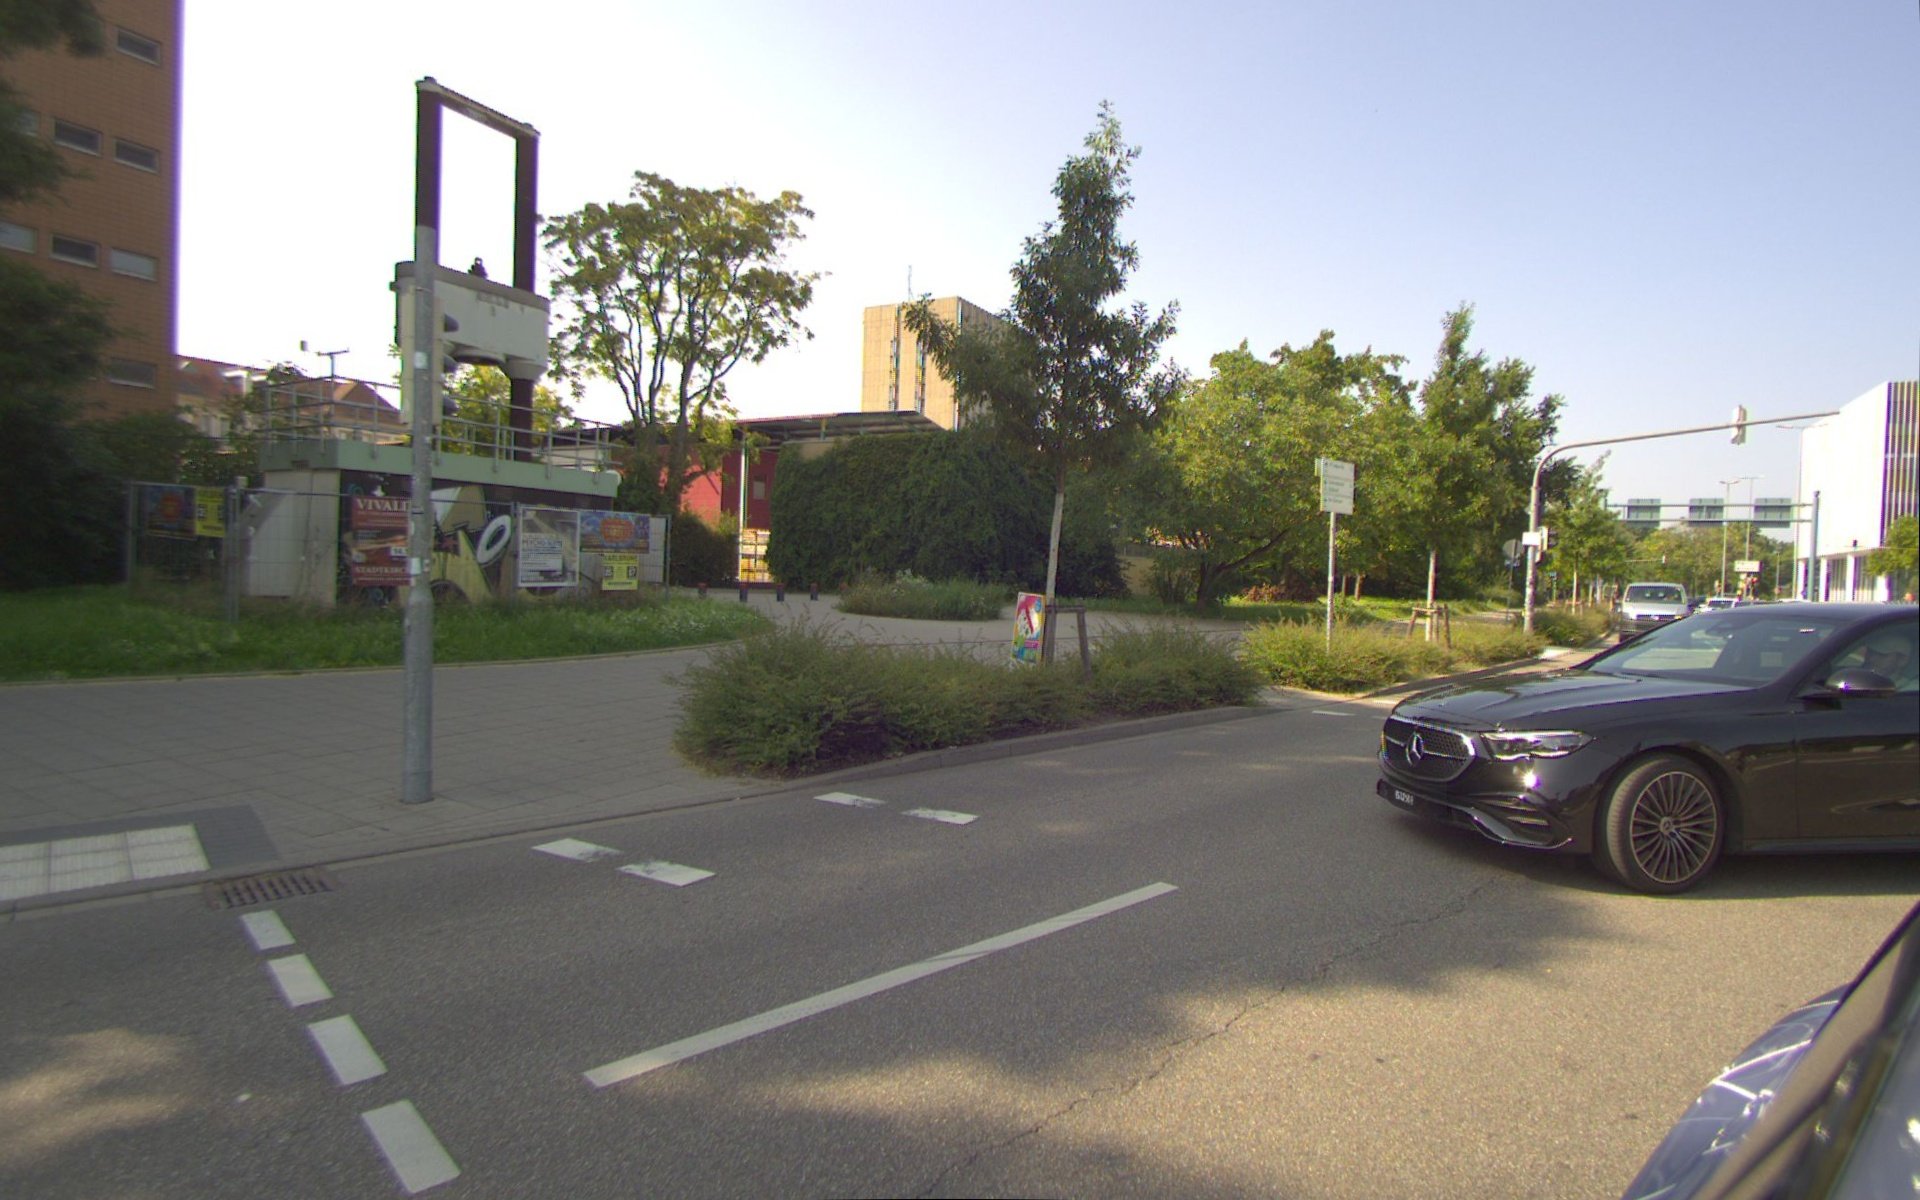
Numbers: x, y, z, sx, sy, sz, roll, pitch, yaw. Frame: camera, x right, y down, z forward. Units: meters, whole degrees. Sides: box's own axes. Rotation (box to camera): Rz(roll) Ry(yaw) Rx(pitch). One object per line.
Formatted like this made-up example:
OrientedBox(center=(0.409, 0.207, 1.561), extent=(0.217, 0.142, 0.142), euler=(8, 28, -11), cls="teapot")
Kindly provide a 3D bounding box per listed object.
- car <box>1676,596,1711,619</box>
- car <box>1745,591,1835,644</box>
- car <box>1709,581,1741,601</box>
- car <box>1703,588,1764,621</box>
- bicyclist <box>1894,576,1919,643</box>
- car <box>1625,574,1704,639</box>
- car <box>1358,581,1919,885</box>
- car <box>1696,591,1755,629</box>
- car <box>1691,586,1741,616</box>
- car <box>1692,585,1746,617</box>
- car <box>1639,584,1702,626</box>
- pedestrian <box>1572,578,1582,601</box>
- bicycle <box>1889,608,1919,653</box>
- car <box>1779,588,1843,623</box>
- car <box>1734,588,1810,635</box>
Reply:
OrientedBox(center=(59.684, 0.566, 82.393), extent=(1.918, 1.680, 4.248), euler=(3, 2, 31), cls="car")
OrientedBox(center=(25.161, 0.463, 30.818), extent=(1.901, 1.418, 4.854), euler=(3, 2, 37), cls="car")
OrientedBox(center=(85.753, -1.022, 113.455), extent=(1.900, 2.039, 3.965), euler=(3, 0, 25), cls="car")
OrientedBox(center=(39.213, 0.179, 51.377), extent=(1.918, 1.524, 4.248), euler=(3, 2, 31), cls="car")
OrientedBox(center=(24.270, 0.248, 25.620), extent=(0.744, 1.655, 0.864), euler=(3, 2, 35), cls="bicyclist")
OrientedBox(center=(22.984, 0.174, 32.938), extent=(1.837, 1.898, 4.906), euler=(3, 2, 37), cls="car")
OrientedBox(center=(5.090, 0.658, 5.902), extent=(4.778, 1.458, 1.827), euler=(1, 1, -3), cls="car")
OrientedBox(center=(34.867, 0.417, 46.179), extent=(1.989, 1.524, 4.377), euler=(3, 2, 36), cls="car")
OrientedBox(center=(45.572, 0.014, 61.105), extent=(1.918, 1.680, 4.248), euler=(3, 2, 31), cls="car")
OrientedBox(center=(42.334, 0.026, 56.528), extent=(1.918, 1.680, 4.248), euler=(3, 2, 31), cls="car")
OrientedBox(center=(27.881, 0.165, 39.670), extent=(1.801, 1.524, 3.914), euler=(3, 2, 37), cls="car")
OrientedBox(center=(50.305, -0.886, 82.452), extent=(0.619, 1.868, 0.634), euler=(3, 2, 33), cls="pedestrian")
OrientedBox(center=(24.263, 0.771, 25.651), extent=(0.765, 1.065, 1.753), euler=(3, 3, 35), cls="bicycle")
OrientedBox(center=(45.798, 0.258, 54.550), extent=(1.918, 1.680, 4.248), euler=(3, 2, 31), cls="car")
OrientedBox(center=(29.437, 0.367, 36.817), extent=(1.990, 1.524, 4.375), euler=(3, 2, 37), cls="car")
